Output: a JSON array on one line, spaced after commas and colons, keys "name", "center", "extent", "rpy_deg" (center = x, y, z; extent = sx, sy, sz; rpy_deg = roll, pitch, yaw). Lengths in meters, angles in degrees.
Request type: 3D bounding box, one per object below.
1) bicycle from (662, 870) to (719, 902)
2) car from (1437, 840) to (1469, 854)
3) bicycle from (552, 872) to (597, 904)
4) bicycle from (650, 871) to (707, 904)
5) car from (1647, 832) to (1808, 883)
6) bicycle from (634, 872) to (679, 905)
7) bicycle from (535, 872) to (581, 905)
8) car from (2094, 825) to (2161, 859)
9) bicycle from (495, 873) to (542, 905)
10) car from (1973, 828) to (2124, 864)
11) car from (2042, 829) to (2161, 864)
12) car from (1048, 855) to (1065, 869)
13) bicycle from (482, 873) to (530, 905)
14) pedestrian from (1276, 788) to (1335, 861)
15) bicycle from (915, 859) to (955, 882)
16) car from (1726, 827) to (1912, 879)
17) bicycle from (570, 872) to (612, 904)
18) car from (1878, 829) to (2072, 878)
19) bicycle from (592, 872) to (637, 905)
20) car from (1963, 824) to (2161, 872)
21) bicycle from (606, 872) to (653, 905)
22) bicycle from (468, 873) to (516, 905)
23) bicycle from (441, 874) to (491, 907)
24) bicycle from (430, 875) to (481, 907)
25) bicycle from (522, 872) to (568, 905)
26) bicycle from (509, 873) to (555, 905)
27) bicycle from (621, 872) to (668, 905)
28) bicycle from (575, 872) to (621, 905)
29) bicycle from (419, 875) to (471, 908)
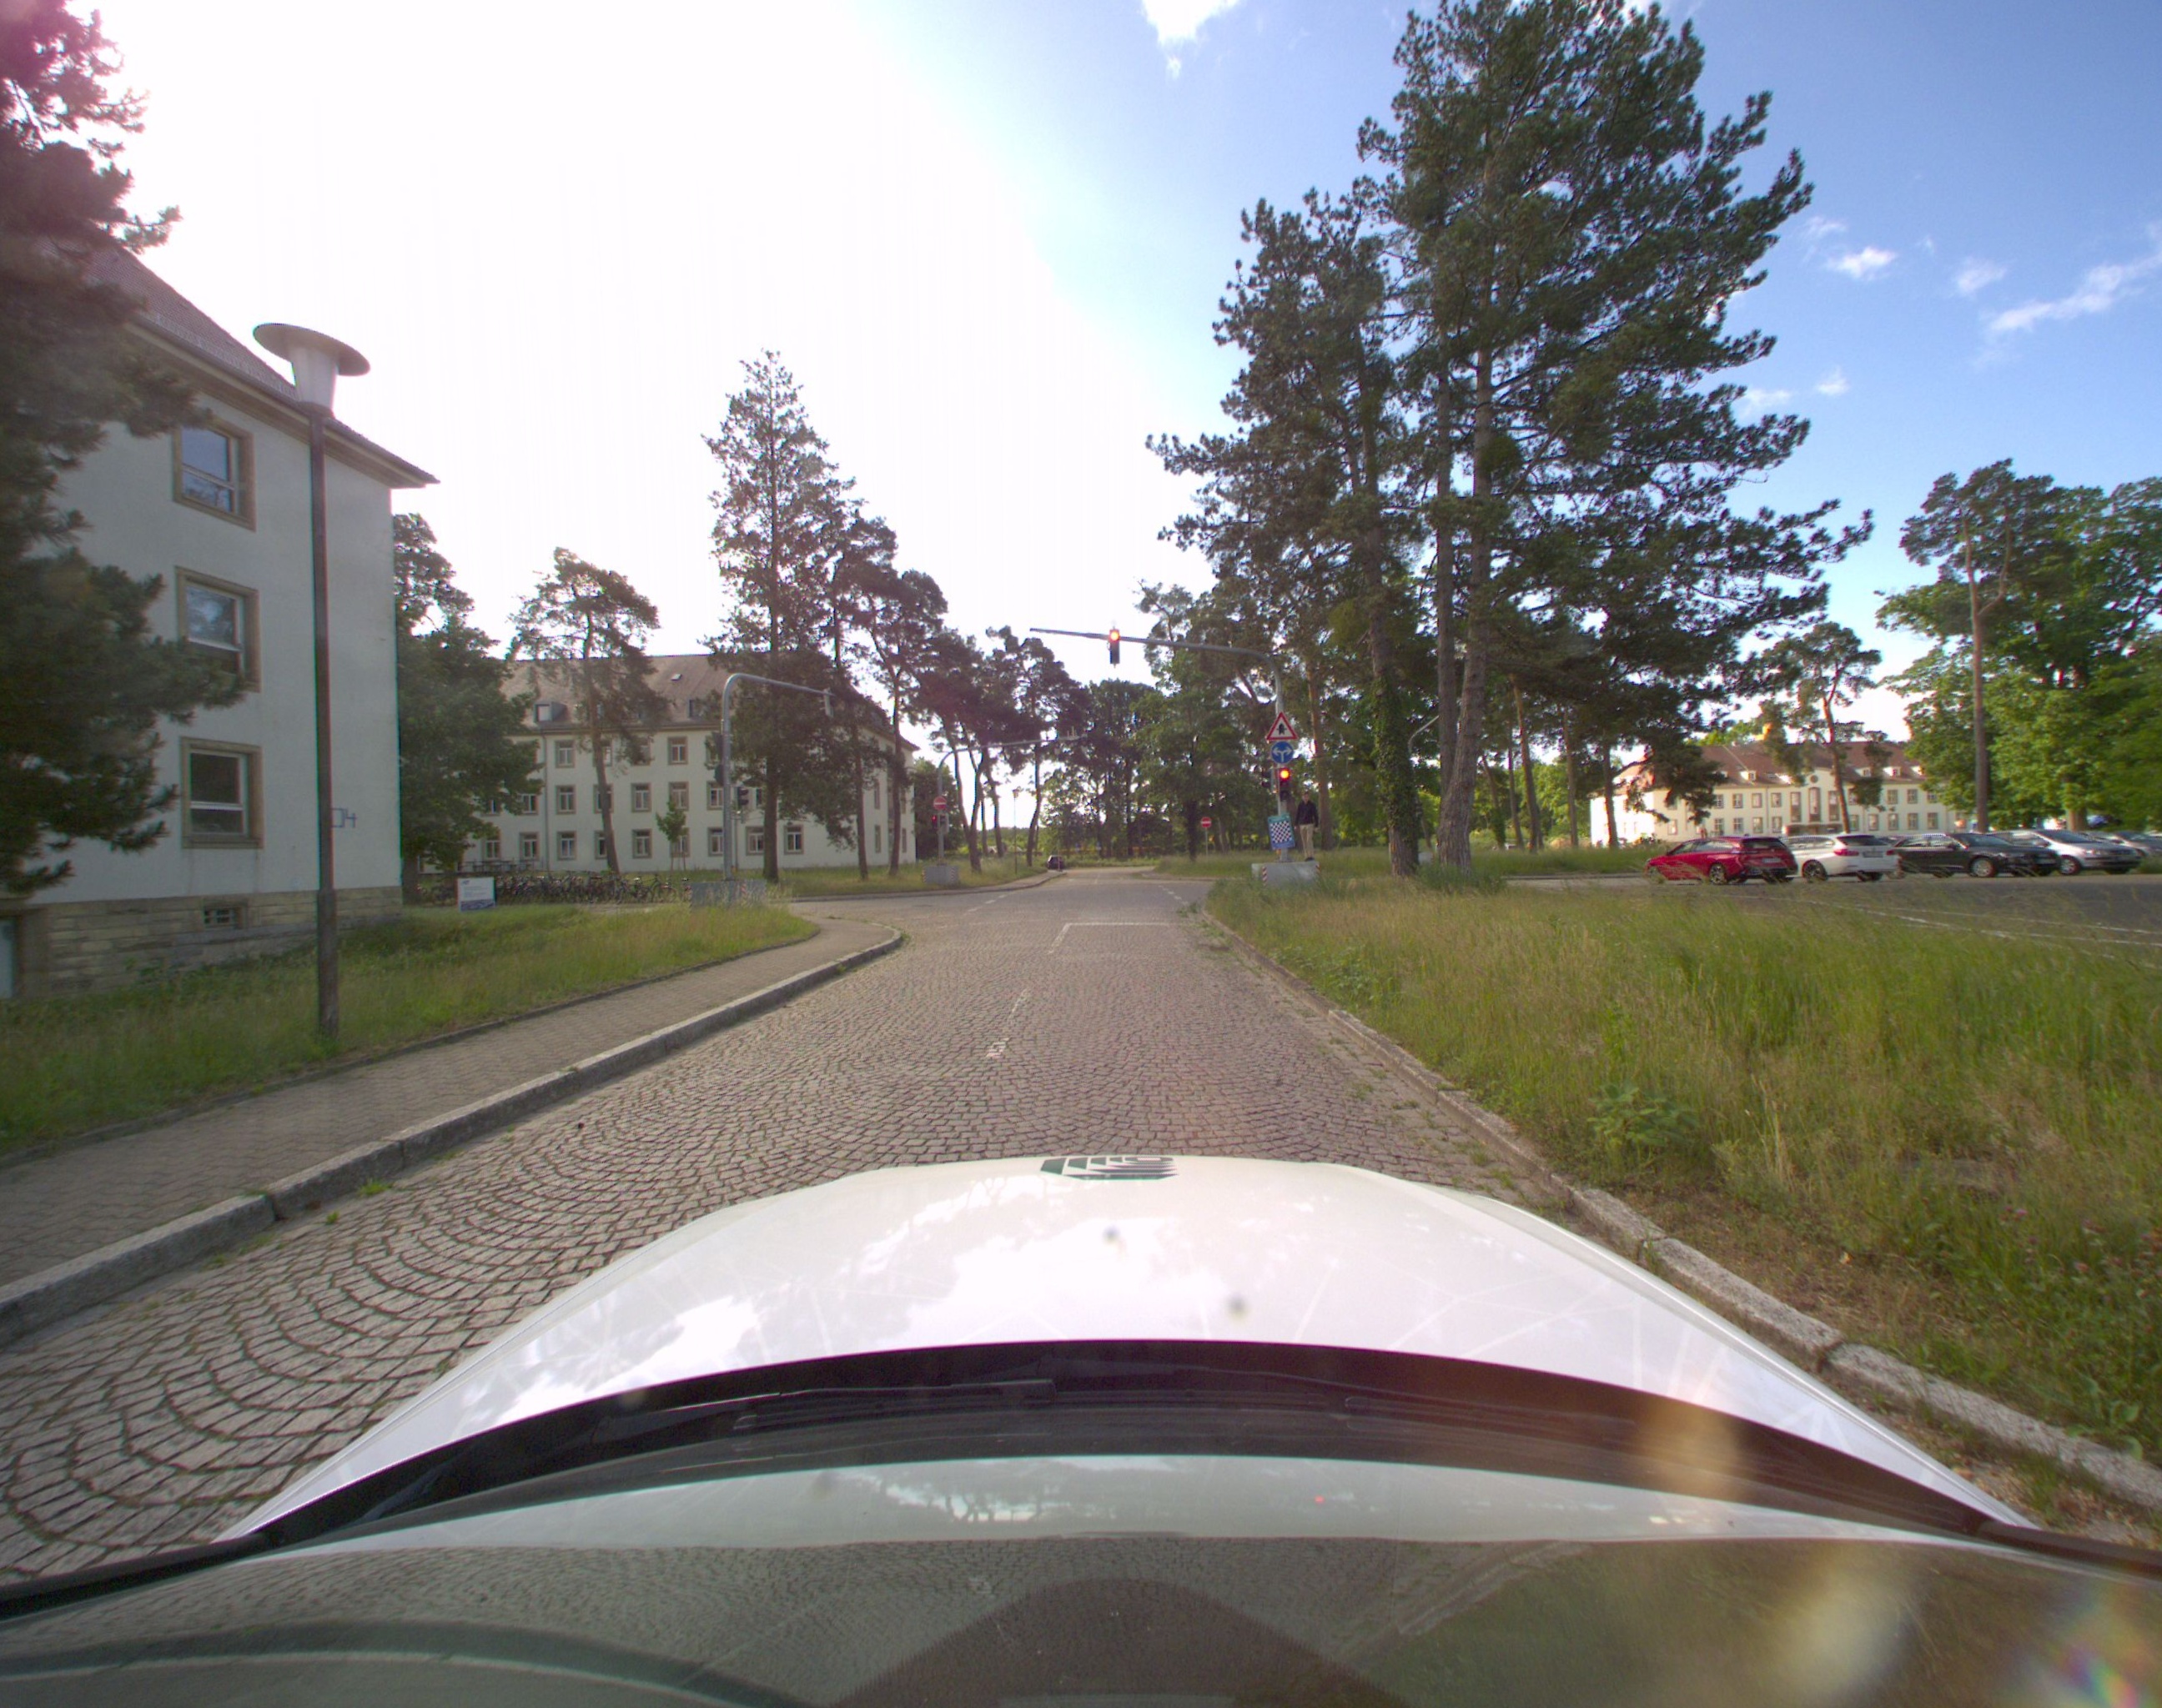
[{"name": "bicycle", "center": [-15.625, 1.279, 32.590], "extent": [1.937, 1.220, 0.635], "rpy_deg": [-2, 0, 1]}, {"name": "car", "center": [42.790, -0.806, 93.760], "extent": [1.820, 1.582, 4.164], "rpy_deg": [-2, 0, 2]}, {"name": "bicycle", "center": [-20.739, 1.386, 33.376], "extent": [0.512, 1.220, 2.016], "rpy_deg": [-2, 0, 2]}, {"name": "bicycle", "center": [-15.750, 1.303, 31.878], "extent": [1.855, 1.220, 0.635], "rpy_deg": [-2, 0, 1]}, {"name": "car", "center": [19.288, 0.130, 24.549], "extent": [1.649, 1.399, 4.131], "rpy_deg": [0, -1, 2]}, {"name": "bicycle", "center": [-16.984, 1.356, 32.657], "extent": [0.630, 1.220, 2.115], "rpy_deg": [-2, 0, 2]}, {"name": "bicycle", "center": [-21.388, 1.391, 33.340], "extent": [0.512, 1.220, 1.977], "rpy_deg": [-2, 0, 2]}, {"name": "car", "center": [47.908, -0.533, 35.741], "extent": [1.717, 1.468, 4.243], "rpy_deg": [0, 0, 2]}, {"name": "bicycle", "center": [-22.986, 1.422, 33.336], "extent": [0.512, 1.220, 1.938], "rpy_deg": [-2, 0, 2]}, {"name": "car", "center": [42.519, -0.331, 35.938], "extent": [1.717, 1.493, 4.243], "rpy_deg": [0, 0, 2]}, {"name": "car", "center": [44.891, -0.316, 35.248], "extent": [1.717, 1.425, 4.243], "rpy_deg": [0, 0, 2]}, {"name": "car", "center": [-2.673, 0.859, 88.967], "extent": [1.704, 1.496, 3.918], "rpy_deg": [-2, 0, 0]}, {"name": "bicycle", "center": [-23.532, 1.402, 33.367], "extent": [0.512, 1.220, 1.938], "rpy_deg": [-2, 0, 2]}, {"name": "pedestrian", "center": [5.801, -0.748, 21.022], "extent": [1.157, 1.796, 1.069], "rpy_deg": [-2, 0, 29]}, {"name": "bicycle", "center": [-7.085, 0.804, 39.644], "extent": [0.627, 1.066, 1.963], "rpy_deg": [-2, 0, 40]}, {"name": "car", "center": [22.130, 0.037, 24.689], "extent": [1.773, 1.379, 4.240], "rpy_deg": [-2, -2, 0]}, {"name": "bicycle", "center": [-20.218, 1.381, 33.643], "extent": [0.546, 1.220, 1.900], "rpy_deg": [-2, 0, 2]}, {"name": "car", "center": [27.233, -0.027, 25.030], "extent": [1.610, 1.315, 4.048], "rpy_deg": [-3, 0, 3]}, {"name": "bicycle", "center": [-18.914, 1.372, 33.071], "extent": [0.570, 1.220, 1.990], "rpy_deg": [-2, 0, 2]}, {"name": "car", "center": [30.204, -0.164, 25.253], "extent": [1.716, 1.372, 3.796], "rpy_deg": [0, 0, 4]}, {"name": "bicycle", "center": [-18.071, 1.366, 32.672], "extent": [0.630, 1.220, 2.105], "rpy_deg": [-2, 0, 2]}, {"name": "bicycle", "center": [-24.124, 1.407, 33.394], "extent": [0.512, 1.220, 1.938], "rpy_deg": [-2, 0, 2]}, {"name": "bicycle", "center": [-25.196, 1.481, 33.402], "extent": [0.512, 1.220, 1.938], "rpy_deg": [-2, 0, 2]}, {"name": "bicycle", "center": [-25.625, 1.510, 33.408], "extent": [0.512, 1.220, 1.938], "rpy_deg": [-2, 0, 2]}, {"name": "bicycle", "center": [-21.906, 1.392, 33.341], "extent": [0.512, 1.220, 1.977], "rpy_deg": [-2, 0, 2]}, {"name": "bicycle", "center": [-22.431, 1.412, 33.316], "extent": [0.512, 1.220, 1.955], "rpy_deg": [-2, 0, 2]}, {"name": "bicycle", "center": [-17.467, 1.361, 32.656], "extent": [0.630, 1.220, 2.125], "rpy_deg": [-2, 0, 2]}, {"name": "bicycle", "center": [-19.658, 1.379, 33.212], "extent": [0.576, 1.220, 2.030], "rpy_deg": [-2, 0, 2]}, {"name": "bicycle", "center": [-26.072, 1.514, 33.422], "extent": [0.512, 1.220, 1.938], "rpy_deg": [-2, 0, 2]}]
